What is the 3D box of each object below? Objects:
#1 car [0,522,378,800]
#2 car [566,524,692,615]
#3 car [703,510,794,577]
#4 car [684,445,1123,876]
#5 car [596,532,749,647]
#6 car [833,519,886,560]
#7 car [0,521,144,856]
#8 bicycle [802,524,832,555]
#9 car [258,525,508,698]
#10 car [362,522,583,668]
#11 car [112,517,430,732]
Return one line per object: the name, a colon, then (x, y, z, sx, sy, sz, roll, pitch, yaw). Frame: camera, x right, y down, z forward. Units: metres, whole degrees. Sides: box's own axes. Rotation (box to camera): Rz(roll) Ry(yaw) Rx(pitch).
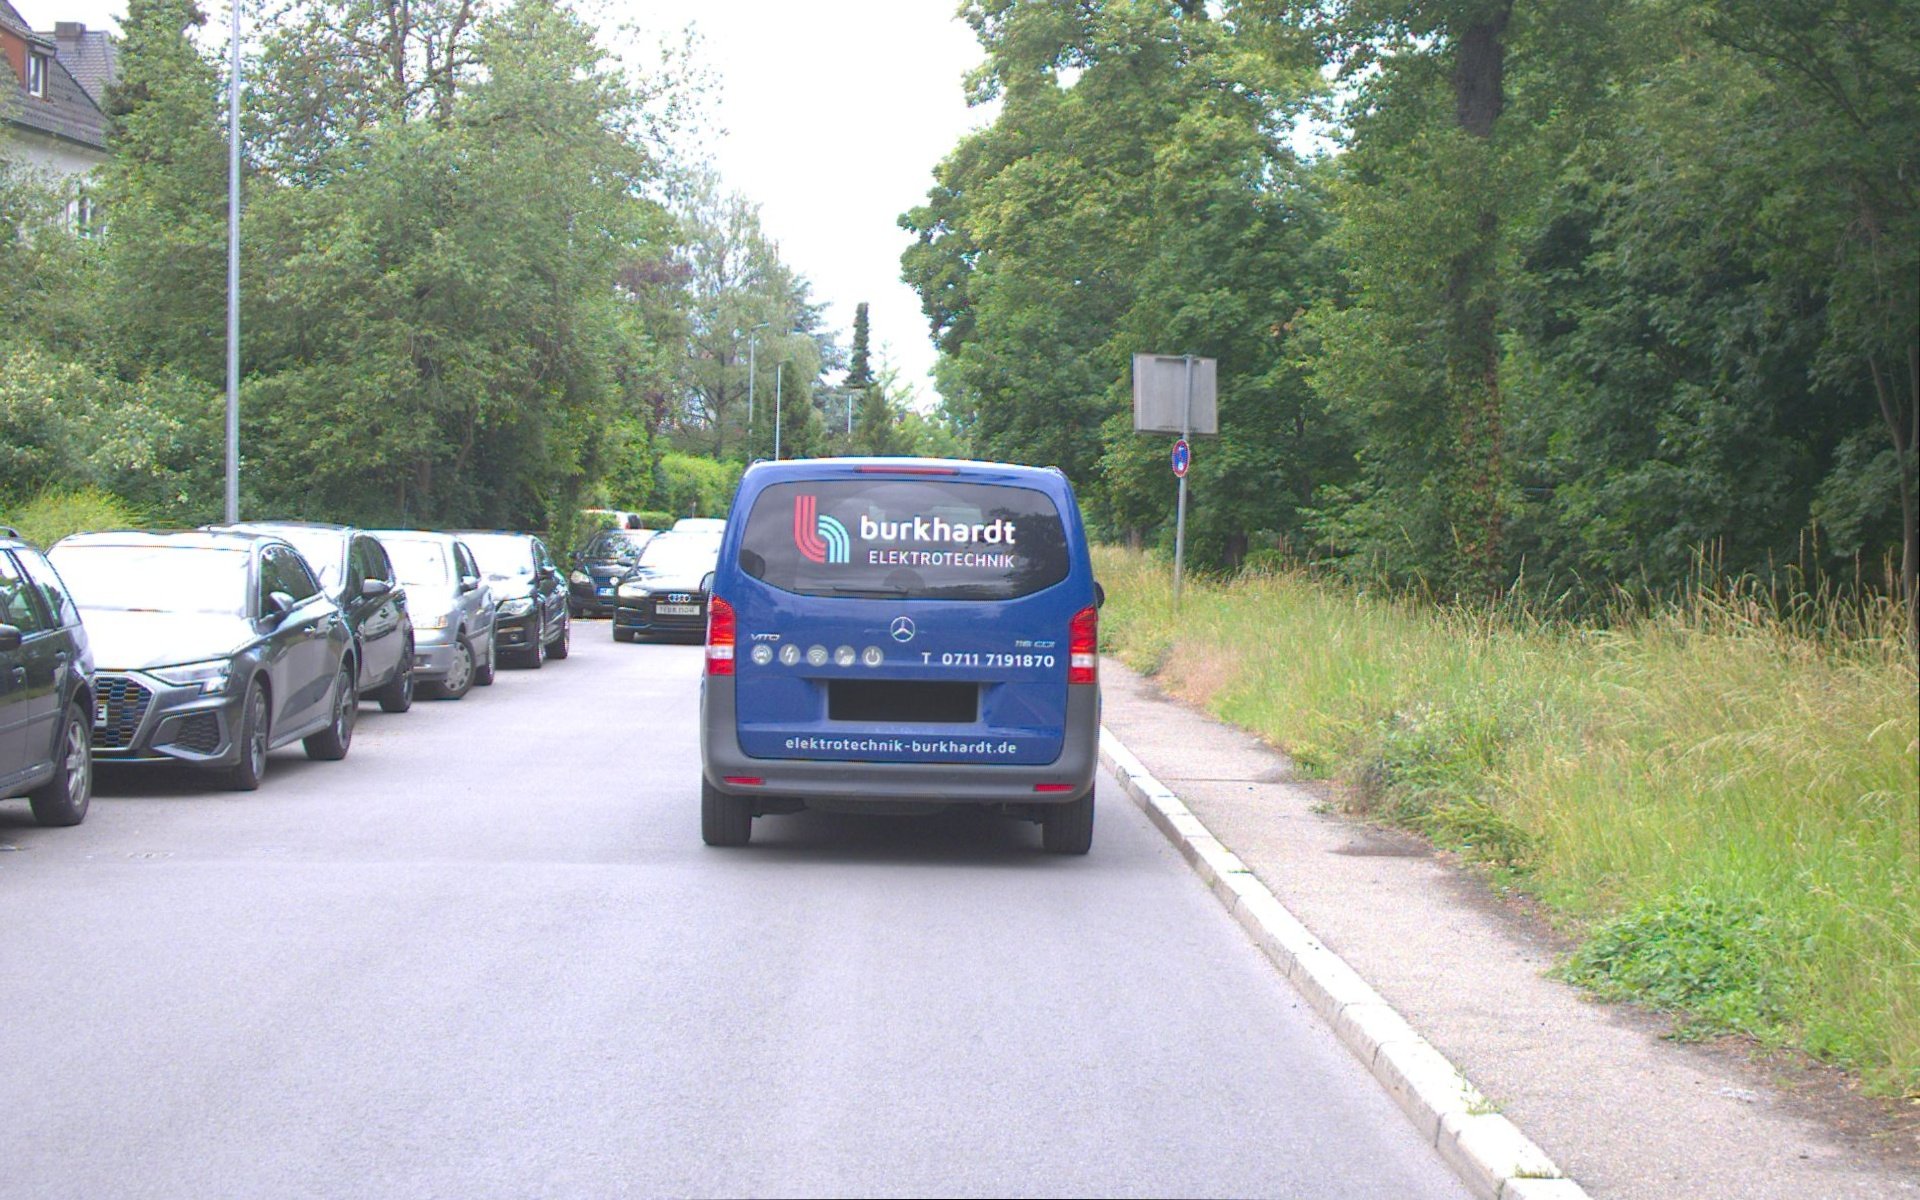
car: (-4.731, 0.277, 20.622, 1.706, 1.477, 4.496, 0, 1, 0)
car: (-5.491, -0.531, 57.441, 1.623, 1.445, 3.969, 1, 1, 1)
car: (-5.885, -1.590, 96.333, 1.974, 1.731, 5.189, 3, 1, 2)
car: (-0.354, 0.186, 17.379, 1.888, 1.837, 4.001, 2, 3, -3)
car: (-3.811, -0.179, 46.193, 1.780, 1.421, 4.490, 1, 1, -2)
car: (-4.307, -2.612, 147.575, 1.836, 1.625, 4.300, 3, 1, 3)
car: (-5.089, 0.379, 15.651, 1.682, 1.477, 4.693, 0, 1, -1)
bicycle: (-6.020, -2.538, 144.719, 0.906, 1.247, 2.916, 4, 1, 3)
car: (-5.078, 0.049, 30.736, 1.624, 1.427, 4.352, 0, 1, -2)
car: (-5.197, -0.105, 37.223, 1.778, 1.427, 5.106, 1, 1, -2)
car: (-5.090, 0.127, 25.842, 1.624, 1.477, 4.000, 0, 1, -1)
